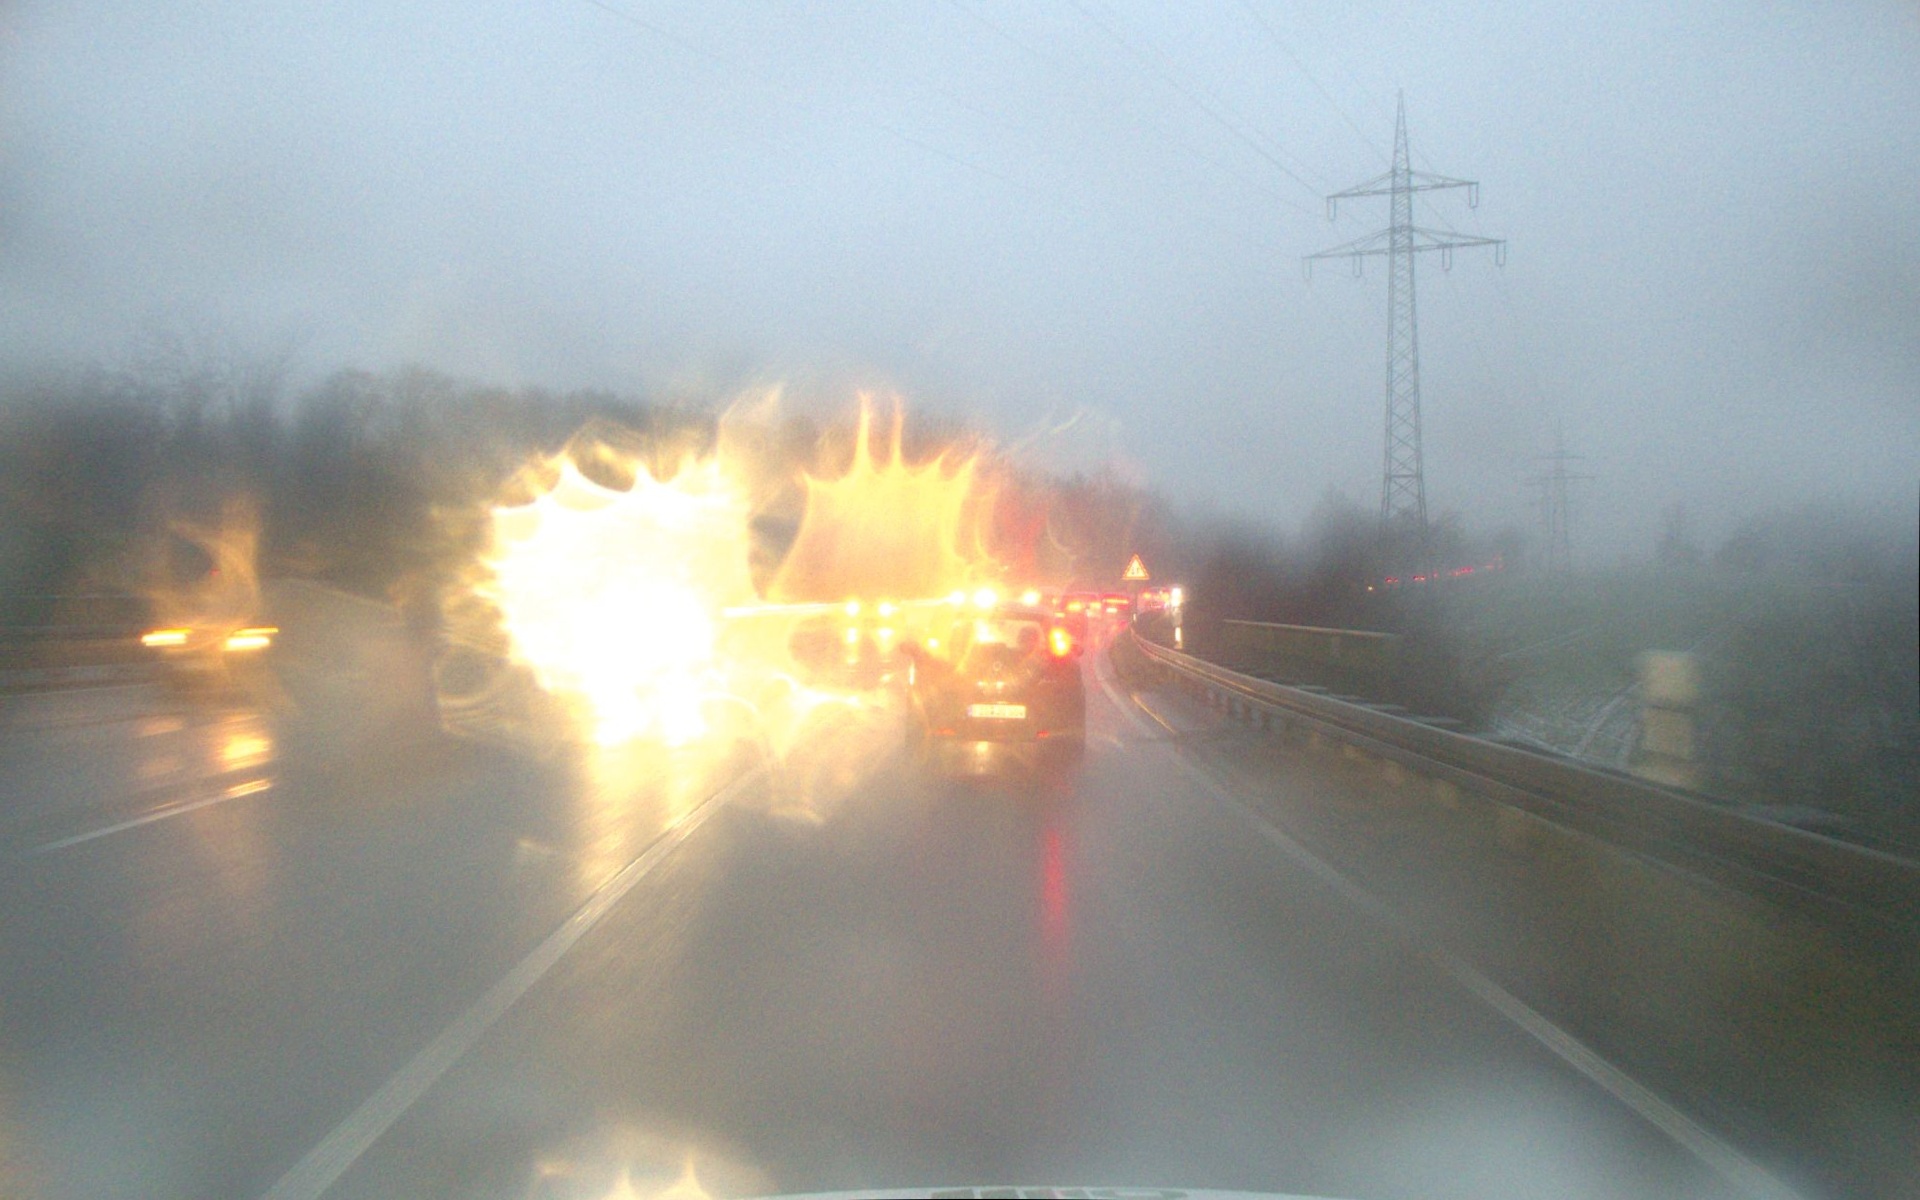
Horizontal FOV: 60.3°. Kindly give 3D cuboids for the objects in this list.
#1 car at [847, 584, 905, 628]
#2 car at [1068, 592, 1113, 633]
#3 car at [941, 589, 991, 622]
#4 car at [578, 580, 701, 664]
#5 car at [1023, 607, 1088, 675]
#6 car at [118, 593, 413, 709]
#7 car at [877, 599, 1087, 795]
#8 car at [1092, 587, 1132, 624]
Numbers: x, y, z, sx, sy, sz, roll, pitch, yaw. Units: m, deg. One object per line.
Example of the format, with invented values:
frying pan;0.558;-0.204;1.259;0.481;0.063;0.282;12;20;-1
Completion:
car;-3.223;0.211;64.437;1.602;1.497;4.452;4;1;4
car;5.875;0.557;74.831;1.905;1.775;4.002;1;0;3
car;0.339;0.276;85.838;1.848;1.617;4.386;2;0;10
car;-5.941;0.369;31.046;1.661;1.442;3.998;1;0;-2
car;3.140;1.299;53.665;1.905;2.049;4.002;-2;-1;5
car;-8.950;0.594;21.690;1.561;1.265;4.004;3;1;11
car;0.090;0.830;16.255;1.696;1.559;4.039;-3;1;-4
car;8.449;0.318;91.821;1.906;1.774;4.003;6;0;8
